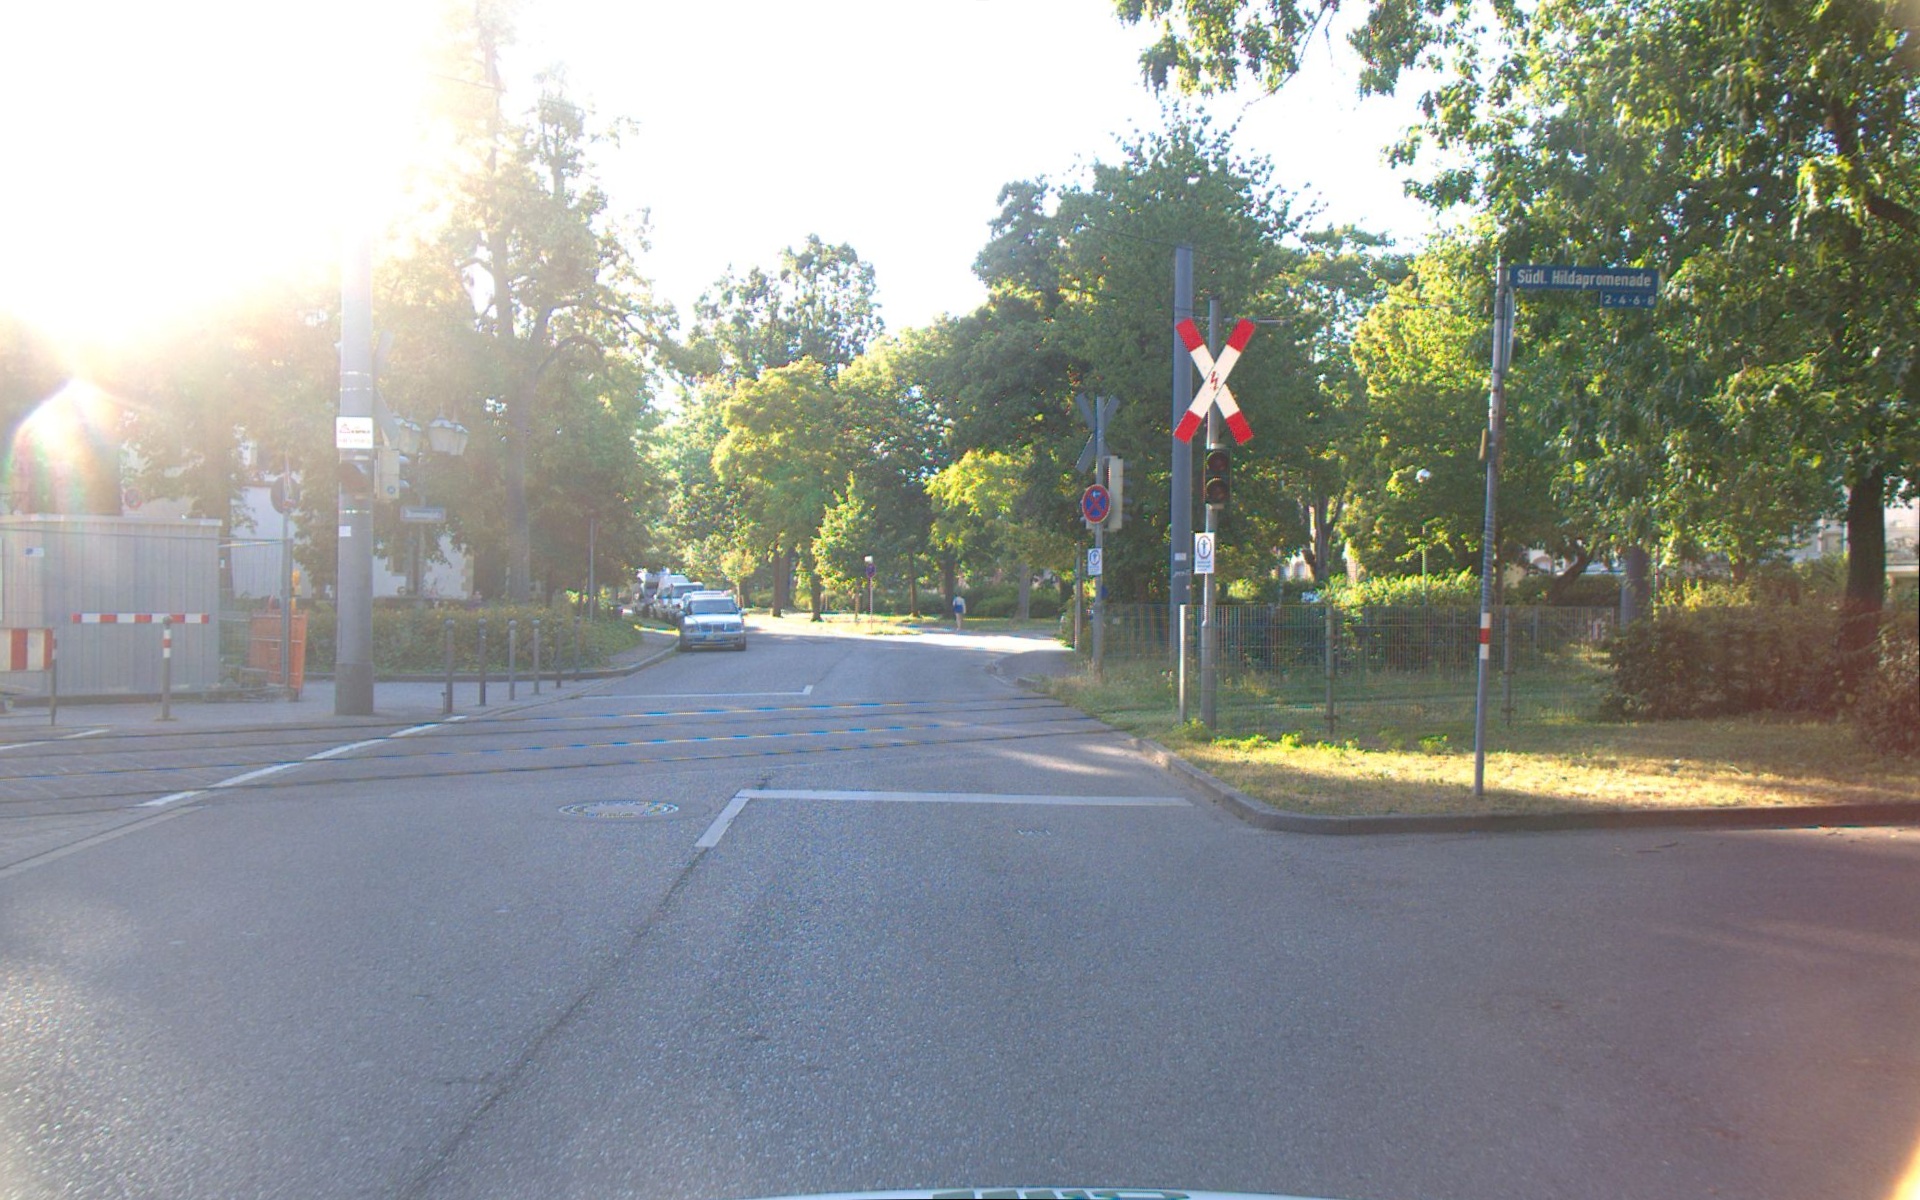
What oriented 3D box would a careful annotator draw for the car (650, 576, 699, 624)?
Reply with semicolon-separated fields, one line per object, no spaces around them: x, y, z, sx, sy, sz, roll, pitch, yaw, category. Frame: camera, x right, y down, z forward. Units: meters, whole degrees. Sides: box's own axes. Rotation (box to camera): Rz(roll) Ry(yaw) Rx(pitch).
-14.729;-0.019;85.121;1.822;2.397;5.161;1;0;-17;car

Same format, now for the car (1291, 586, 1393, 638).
15.692;0.474;67.721;1.923;2.049;5.125;1;0;40;car

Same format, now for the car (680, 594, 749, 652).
-6.658;0.573;45.063;1.746;1.440;4.490;-1;1;-8;car

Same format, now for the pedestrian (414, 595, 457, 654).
-11.020;0.499;34.770;0.539;1.216;0.884;0;0;5;pedestrian

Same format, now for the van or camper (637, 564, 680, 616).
-17.825;-0.600;97.556;2.055;2.959;6.307;1;0;-15;van or camper

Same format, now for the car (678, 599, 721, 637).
-11.050;0.751;69.918;1.588;1.527;3.685;1;0;-12;car

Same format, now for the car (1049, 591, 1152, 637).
5.561;0.540;65.059;1.776;1.705;4.293;3;2;43;car

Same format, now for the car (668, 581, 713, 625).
-12.755;0.123;78.098;1.819;1.980;4.826;1;0;-12;car

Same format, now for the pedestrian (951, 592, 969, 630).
0.004;0.470;70.360;0.758;1.602;0.767;0;0;-3;pedestrian

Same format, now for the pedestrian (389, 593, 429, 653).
-11.592;0.481;34.790;0.539;1.254;0.725;0;0;5;pedestrian

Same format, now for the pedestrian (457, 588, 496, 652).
-10.219;0.419;34.955;0.539;1.320;0.766;0;0;5;pedestrian
